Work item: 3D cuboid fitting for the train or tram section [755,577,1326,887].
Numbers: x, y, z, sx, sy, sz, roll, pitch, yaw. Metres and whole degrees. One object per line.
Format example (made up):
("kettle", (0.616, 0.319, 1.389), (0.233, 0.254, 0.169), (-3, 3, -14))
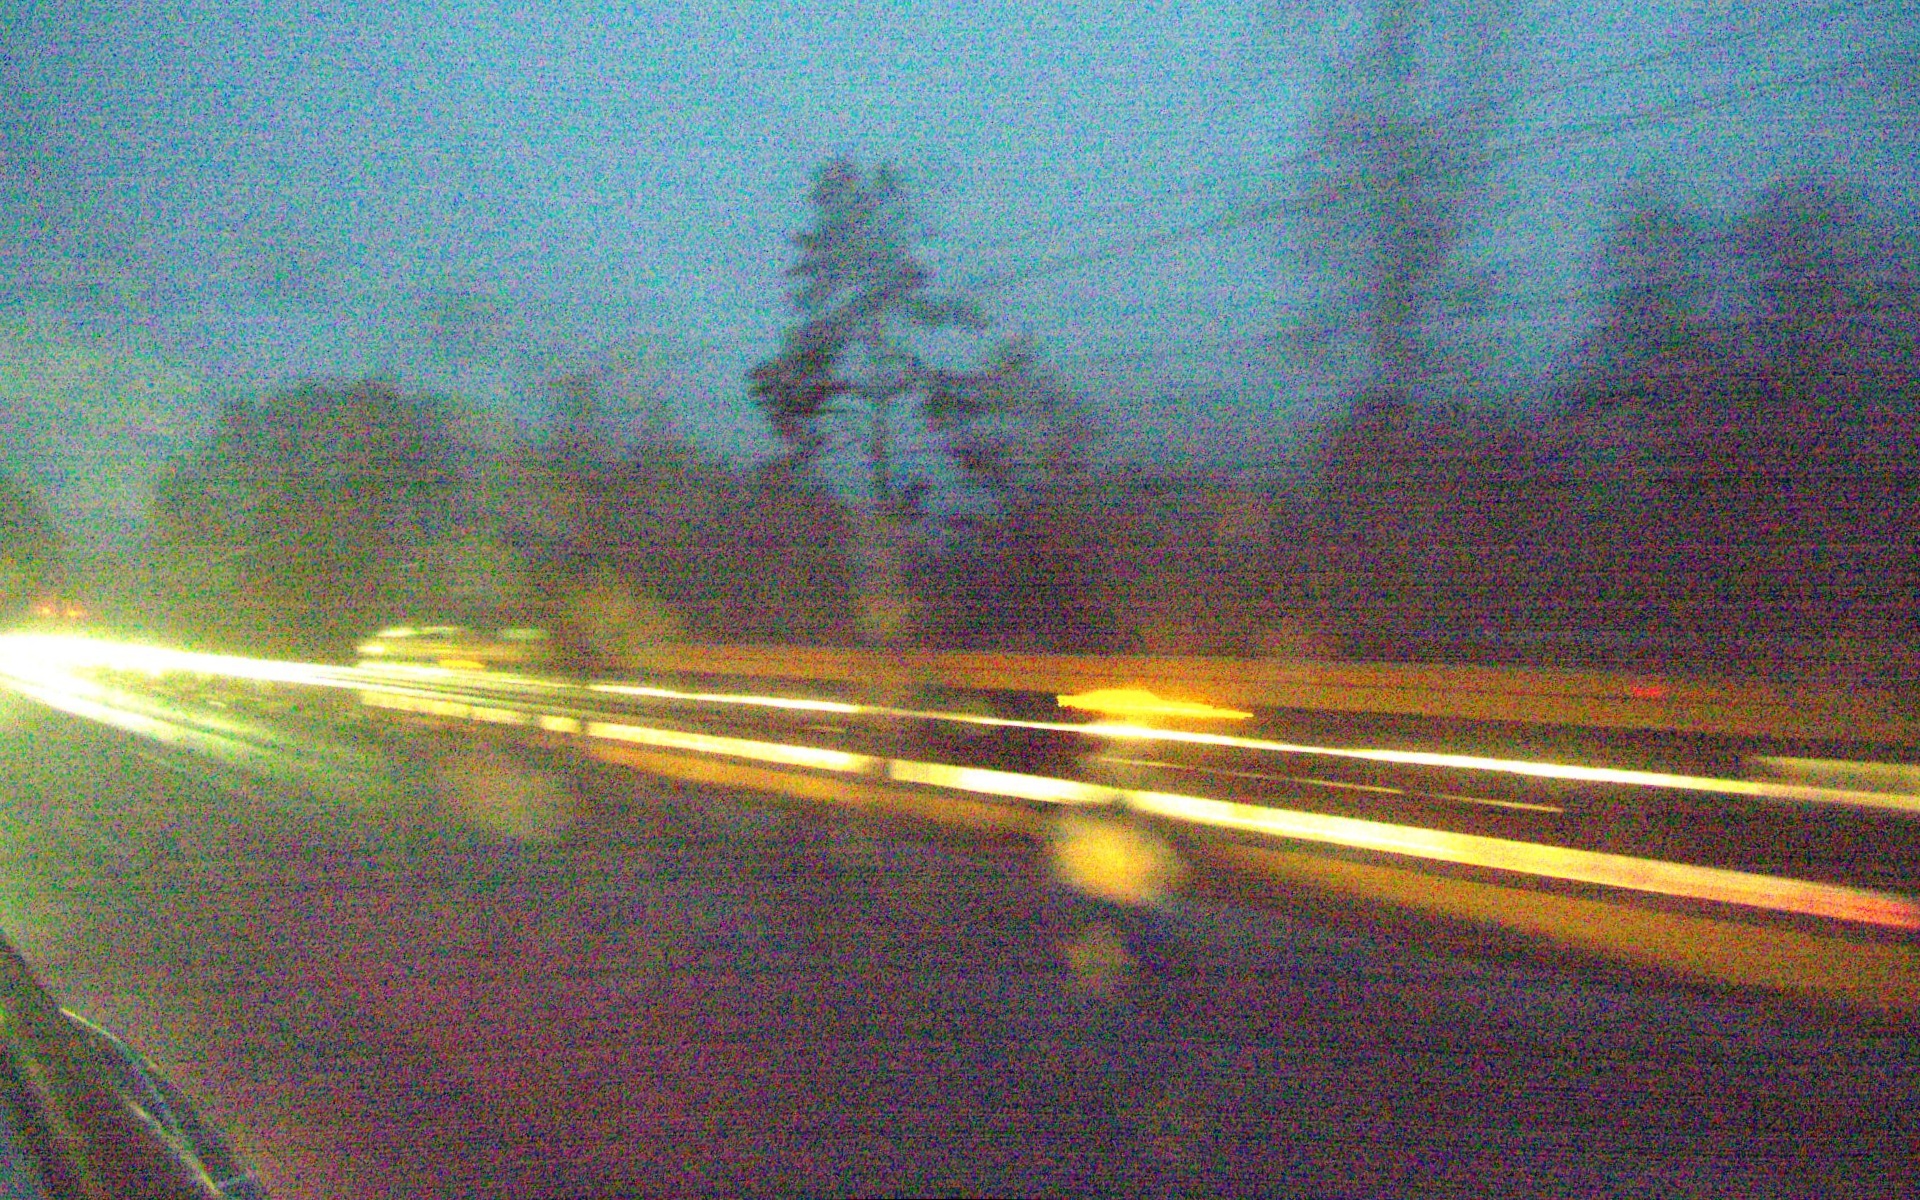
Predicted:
("train or tram section", (0.728, 1.559, 15.237), (8.547, 3.486, 2.814), (-1, -1, 41))

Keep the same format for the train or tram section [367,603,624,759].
("train or tram section", (-12.395, 1.896, 26.551), (8.547, 3.486, 2.814), (-1, -1, 41))

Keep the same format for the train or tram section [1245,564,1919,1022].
("train or tram section", (7.339, 1.493, 9.557), (8.547, 3.486, 2.814), (-1, -1, 41))

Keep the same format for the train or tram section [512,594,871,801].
("train or tram section", (-5.861, 1.714, 20.930), (8.547, 3.486, 2.814), (-1, -1, 41))

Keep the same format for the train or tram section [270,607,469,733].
("train or tram section", (-18.913, 2.037, 32.136), (8.547, 3.486, 2.814), (-1, -1, 41))
